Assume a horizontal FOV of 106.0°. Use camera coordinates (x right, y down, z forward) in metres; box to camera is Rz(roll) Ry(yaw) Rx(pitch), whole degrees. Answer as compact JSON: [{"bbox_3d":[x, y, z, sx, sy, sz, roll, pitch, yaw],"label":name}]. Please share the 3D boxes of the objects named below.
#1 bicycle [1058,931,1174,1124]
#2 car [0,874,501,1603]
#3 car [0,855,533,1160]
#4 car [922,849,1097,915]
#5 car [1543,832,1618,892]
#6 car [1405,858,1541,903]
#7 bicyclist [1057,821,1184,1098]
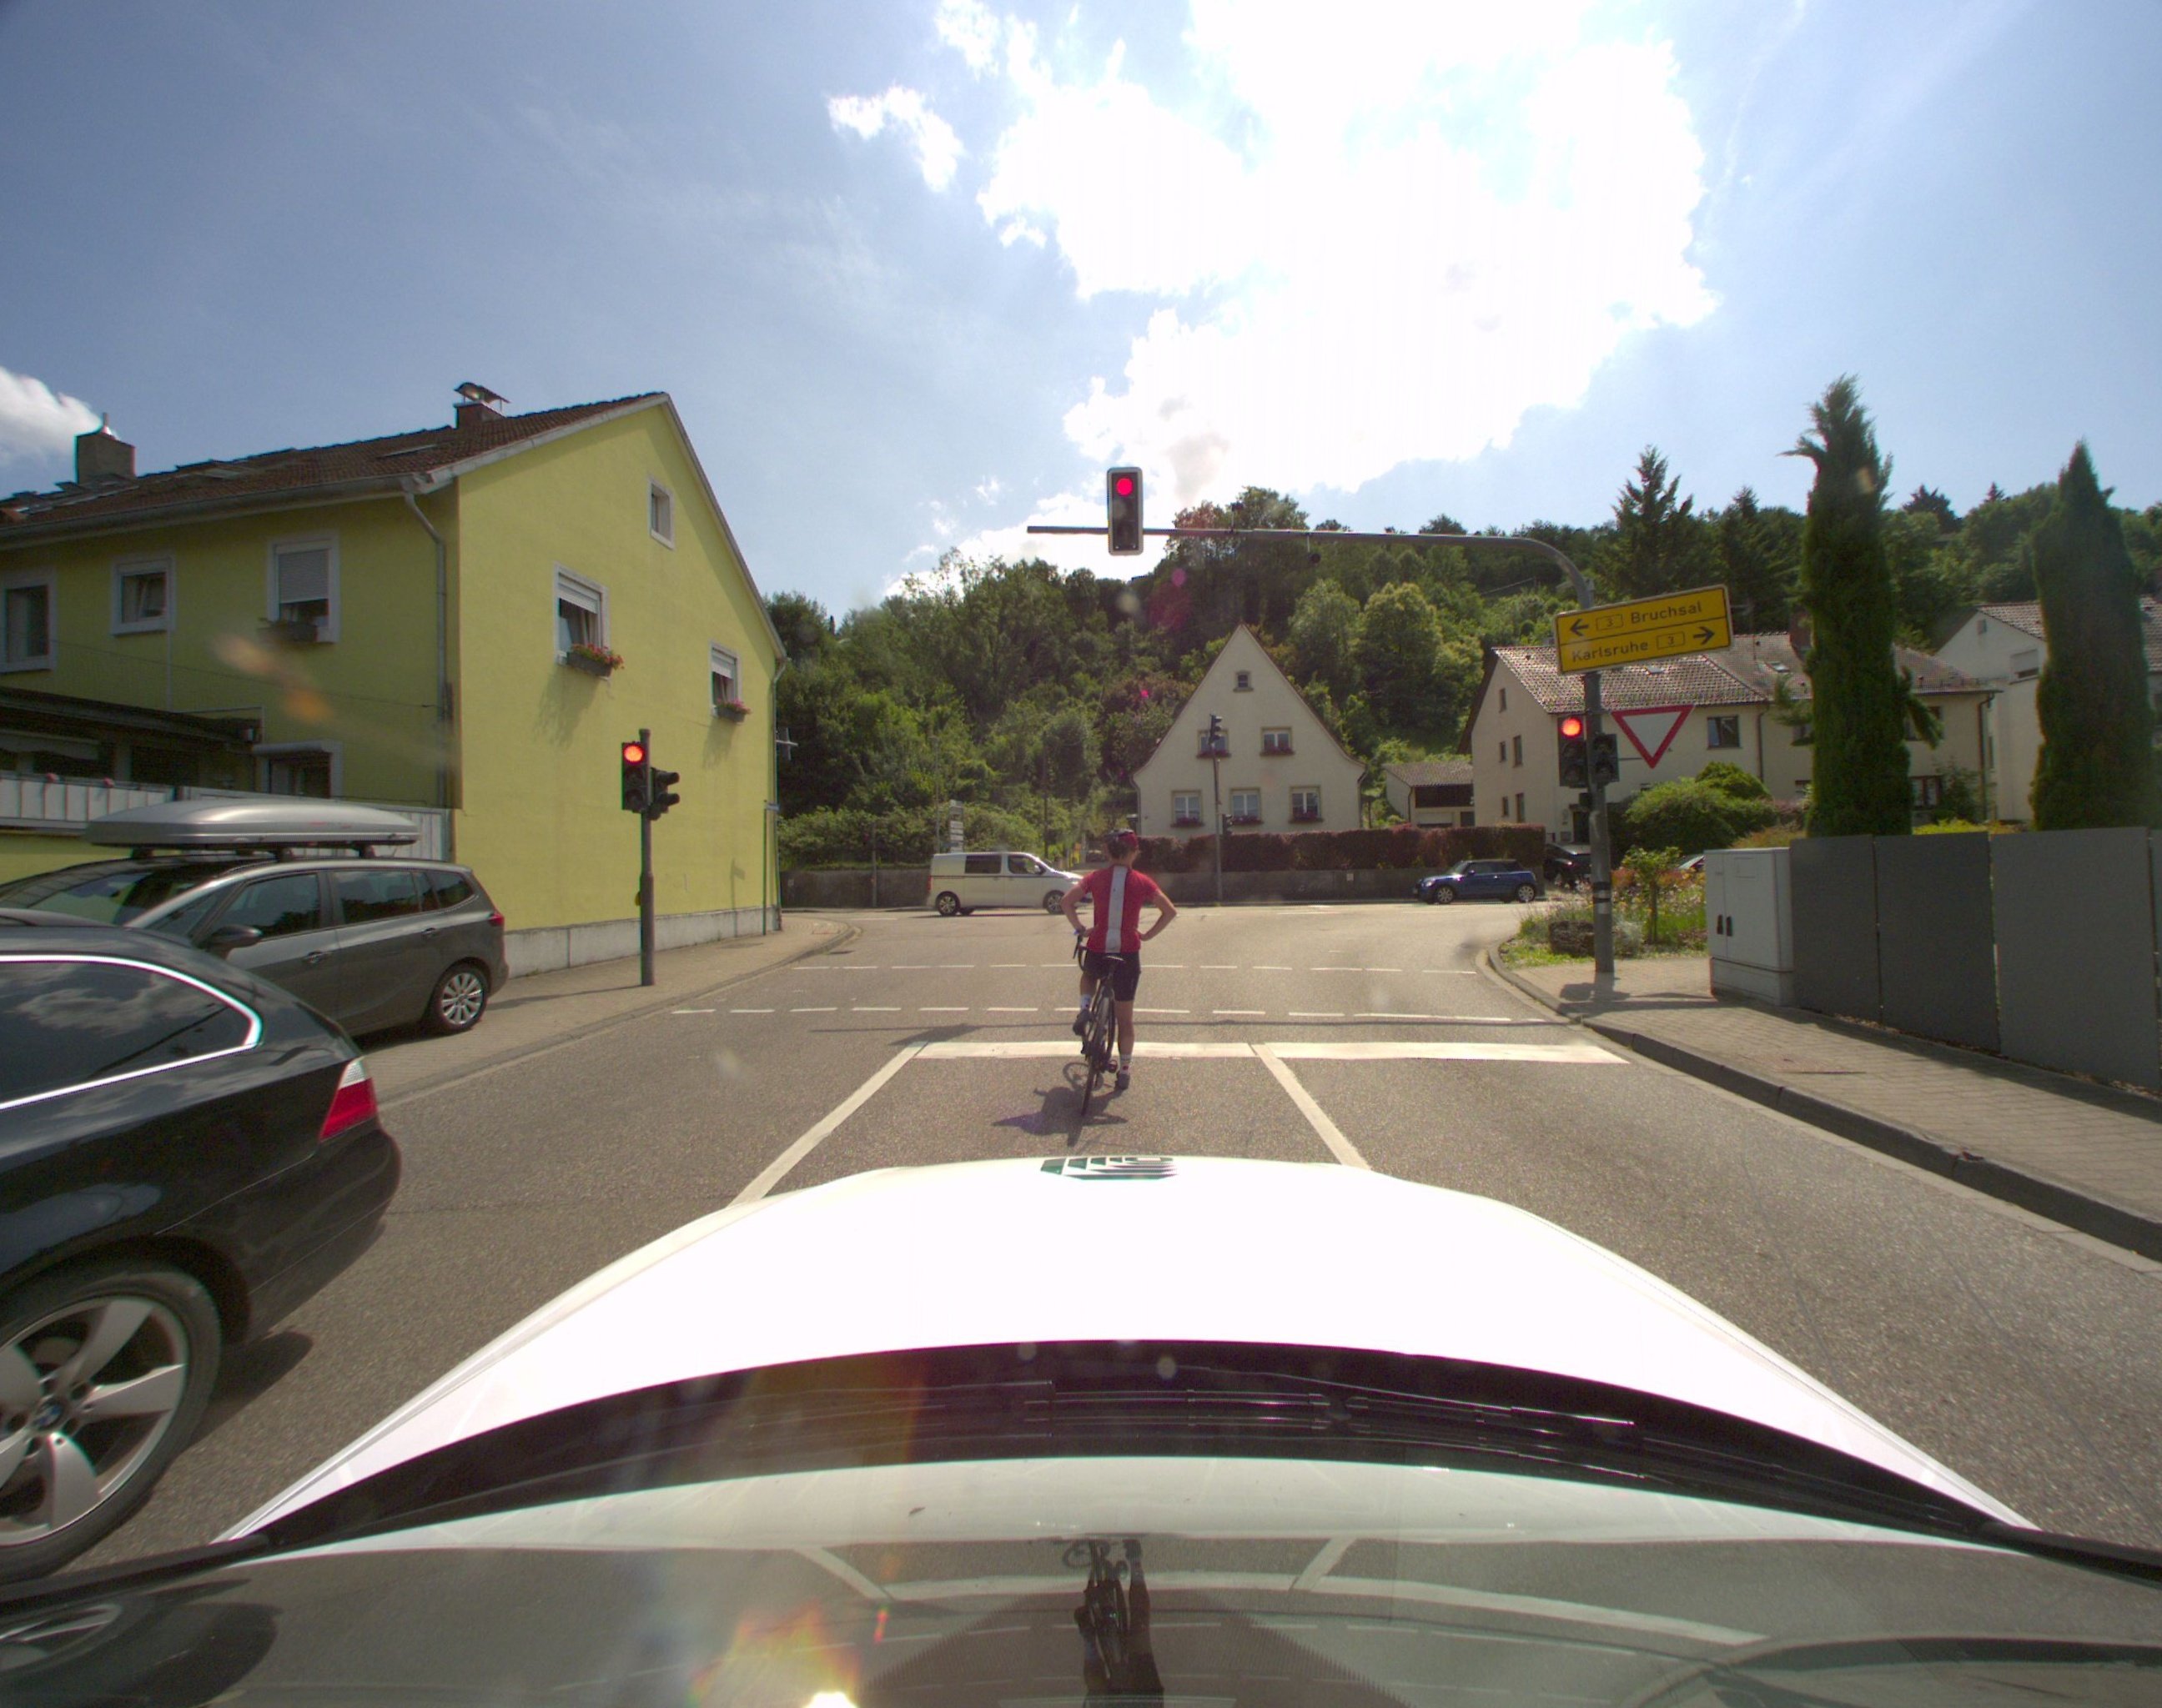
[{"bbox_3d":[0.169,1.028,5.307,0.628,0.905,1.655,0,0,-2],"label":"bicycle"},{"bbox_3d":[-3.192,0.829,0.663,1.856,1.442,4.675,-3,0,3],"label":"car"},{"bbox_3d":[-6.719,0.827,6.069,1.986,1.635,4.632,0,0,2],"label":"car"},{"bbox_3d":[-2.102,0.875,24.572,4.843,1.822,2.005,-1,-3,10],"label":"car"},{"bbox_3d":[18.865,0.248,30.915,1.780,1.388,3.709,-1,13,21],"label":"car"},{"bbox_3d":[12.499,0.864,26.138,3.590,1.363,1.647,-1,-3,6],"label":"car"},{"bbox_3d":[0.229,0.636,5.354,0.759,1.664,0.868,0,-1,-2],"label":"bicyclist"}]
